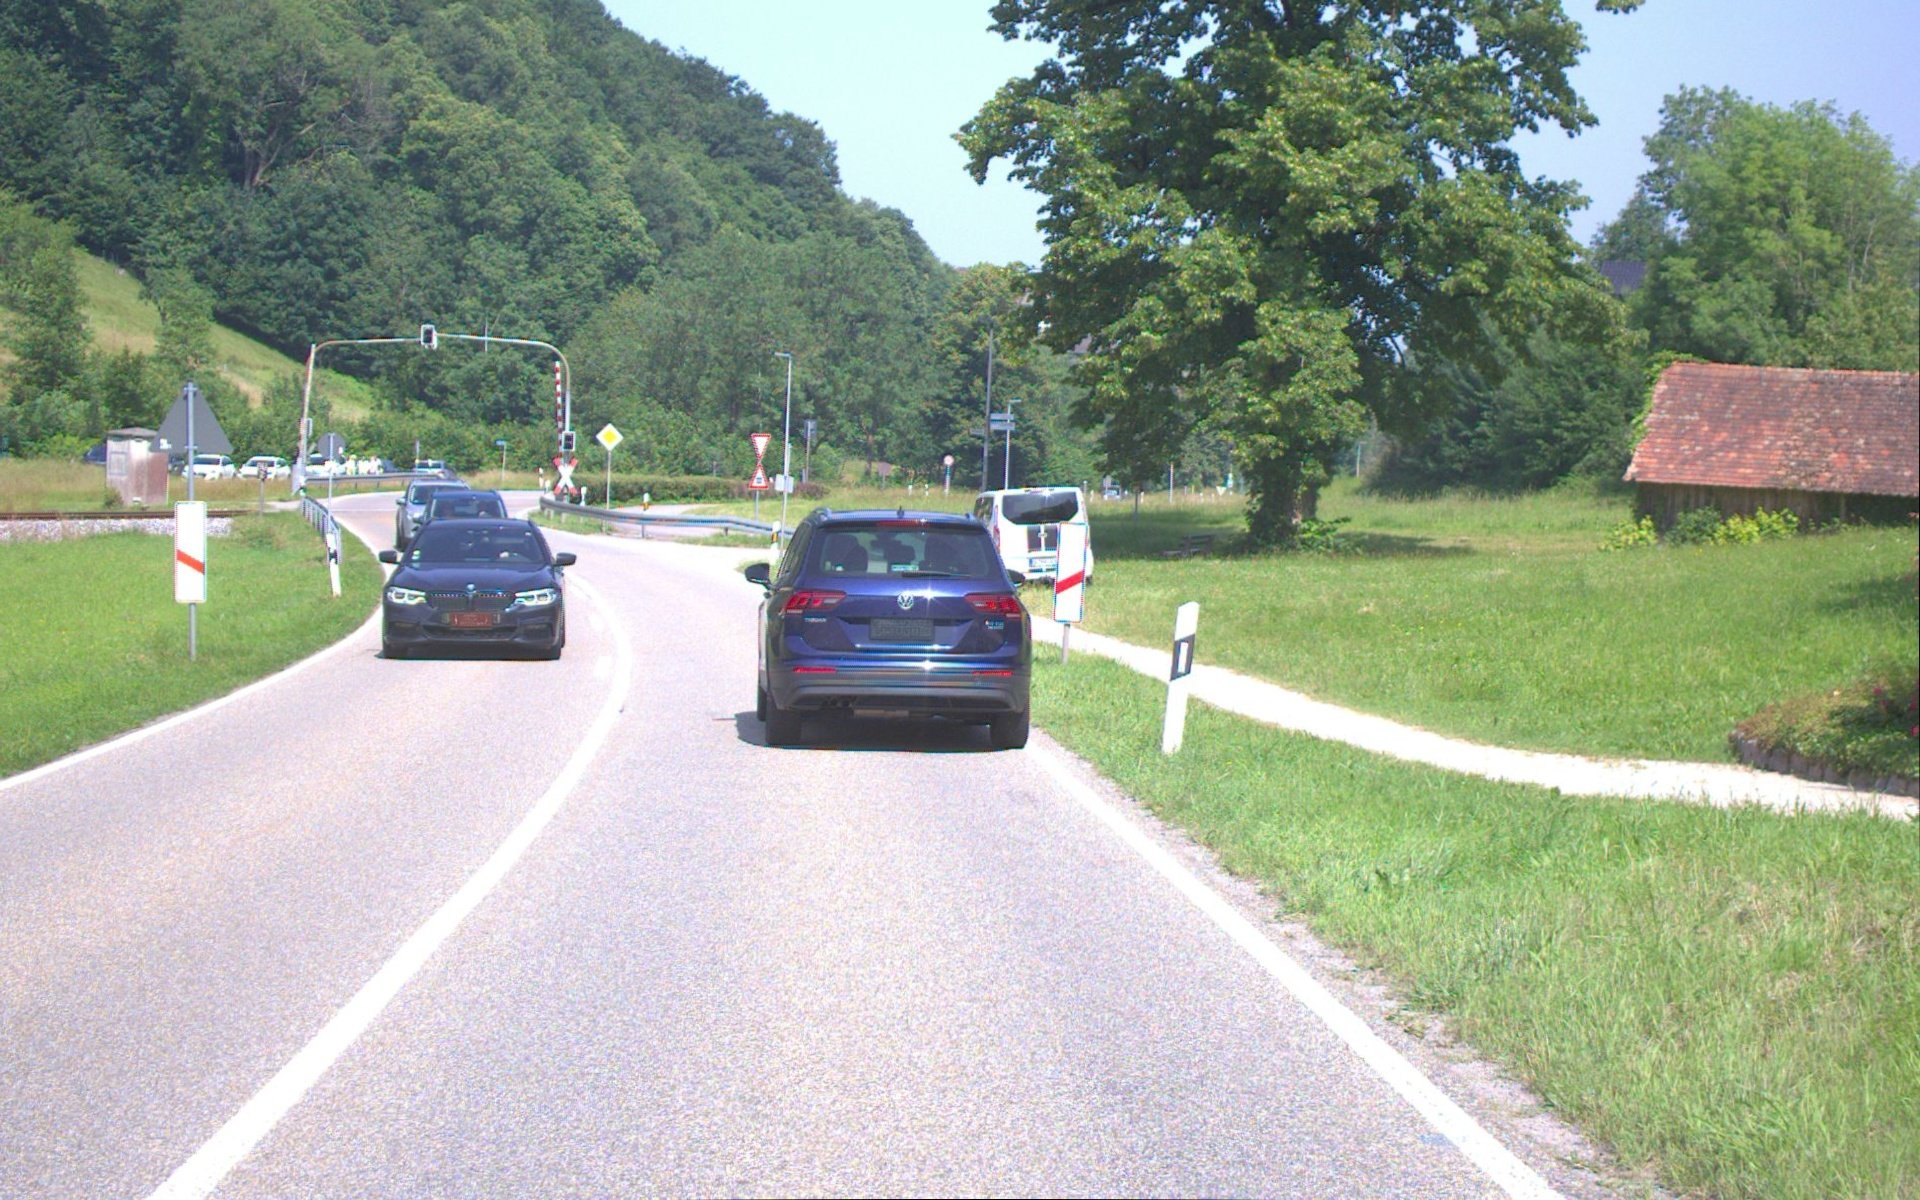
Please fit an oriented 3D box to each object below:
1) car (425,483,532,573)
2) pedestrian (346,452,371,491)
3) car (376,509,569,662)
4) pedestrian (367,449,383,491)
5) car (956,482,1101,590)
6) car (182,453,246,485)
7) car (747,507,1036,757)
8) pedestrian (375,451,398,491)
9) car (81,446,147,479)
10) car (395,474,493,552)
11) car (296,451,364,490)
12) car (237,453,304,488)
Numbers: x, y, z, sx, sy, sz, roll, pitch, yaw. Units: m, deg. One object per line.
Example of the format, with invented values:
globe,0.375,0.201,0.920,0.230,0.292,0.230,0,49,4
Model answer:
car,-9.286,-1.423,66.552,1.865,1.618,4.512,1,2,-6
pedestrian,-28.041,-5.993,160.256,0.770,1.790,0.792,2,2,30
car,-5.230,-0.202,37.149,1.916,1.465,4.512,1,2,-7
pedestrian,-27.184,-6.051,159.699,0.660,1.948,0.533,1,2,-6
car,1.241,-1.248,65.046,1.999,1.842,4.870,-3,3,-7
car,-36.082,-6.324,166.321,1.993,1.495,4.522,1,2,1
car,-0.576,0.170,24.717,1.852,1.643,4.141,0,1,-4
pedestrian,-26.759,-6.027,160.371,0.648,1.852,0.769,2,2,37
car,-41.070,-6.664,166.942,1.993,1.495,4.522,1,2,1
car,-12.041,-2.038,80.069,1.914,1.708,4.161,1,2,-13
car,-30.549,-6.264,166.884,1.871,1.776,4.771,3,2,7
car,-33.391,-6.280,166.626,1.994,1.635,4.902,1,2,4
